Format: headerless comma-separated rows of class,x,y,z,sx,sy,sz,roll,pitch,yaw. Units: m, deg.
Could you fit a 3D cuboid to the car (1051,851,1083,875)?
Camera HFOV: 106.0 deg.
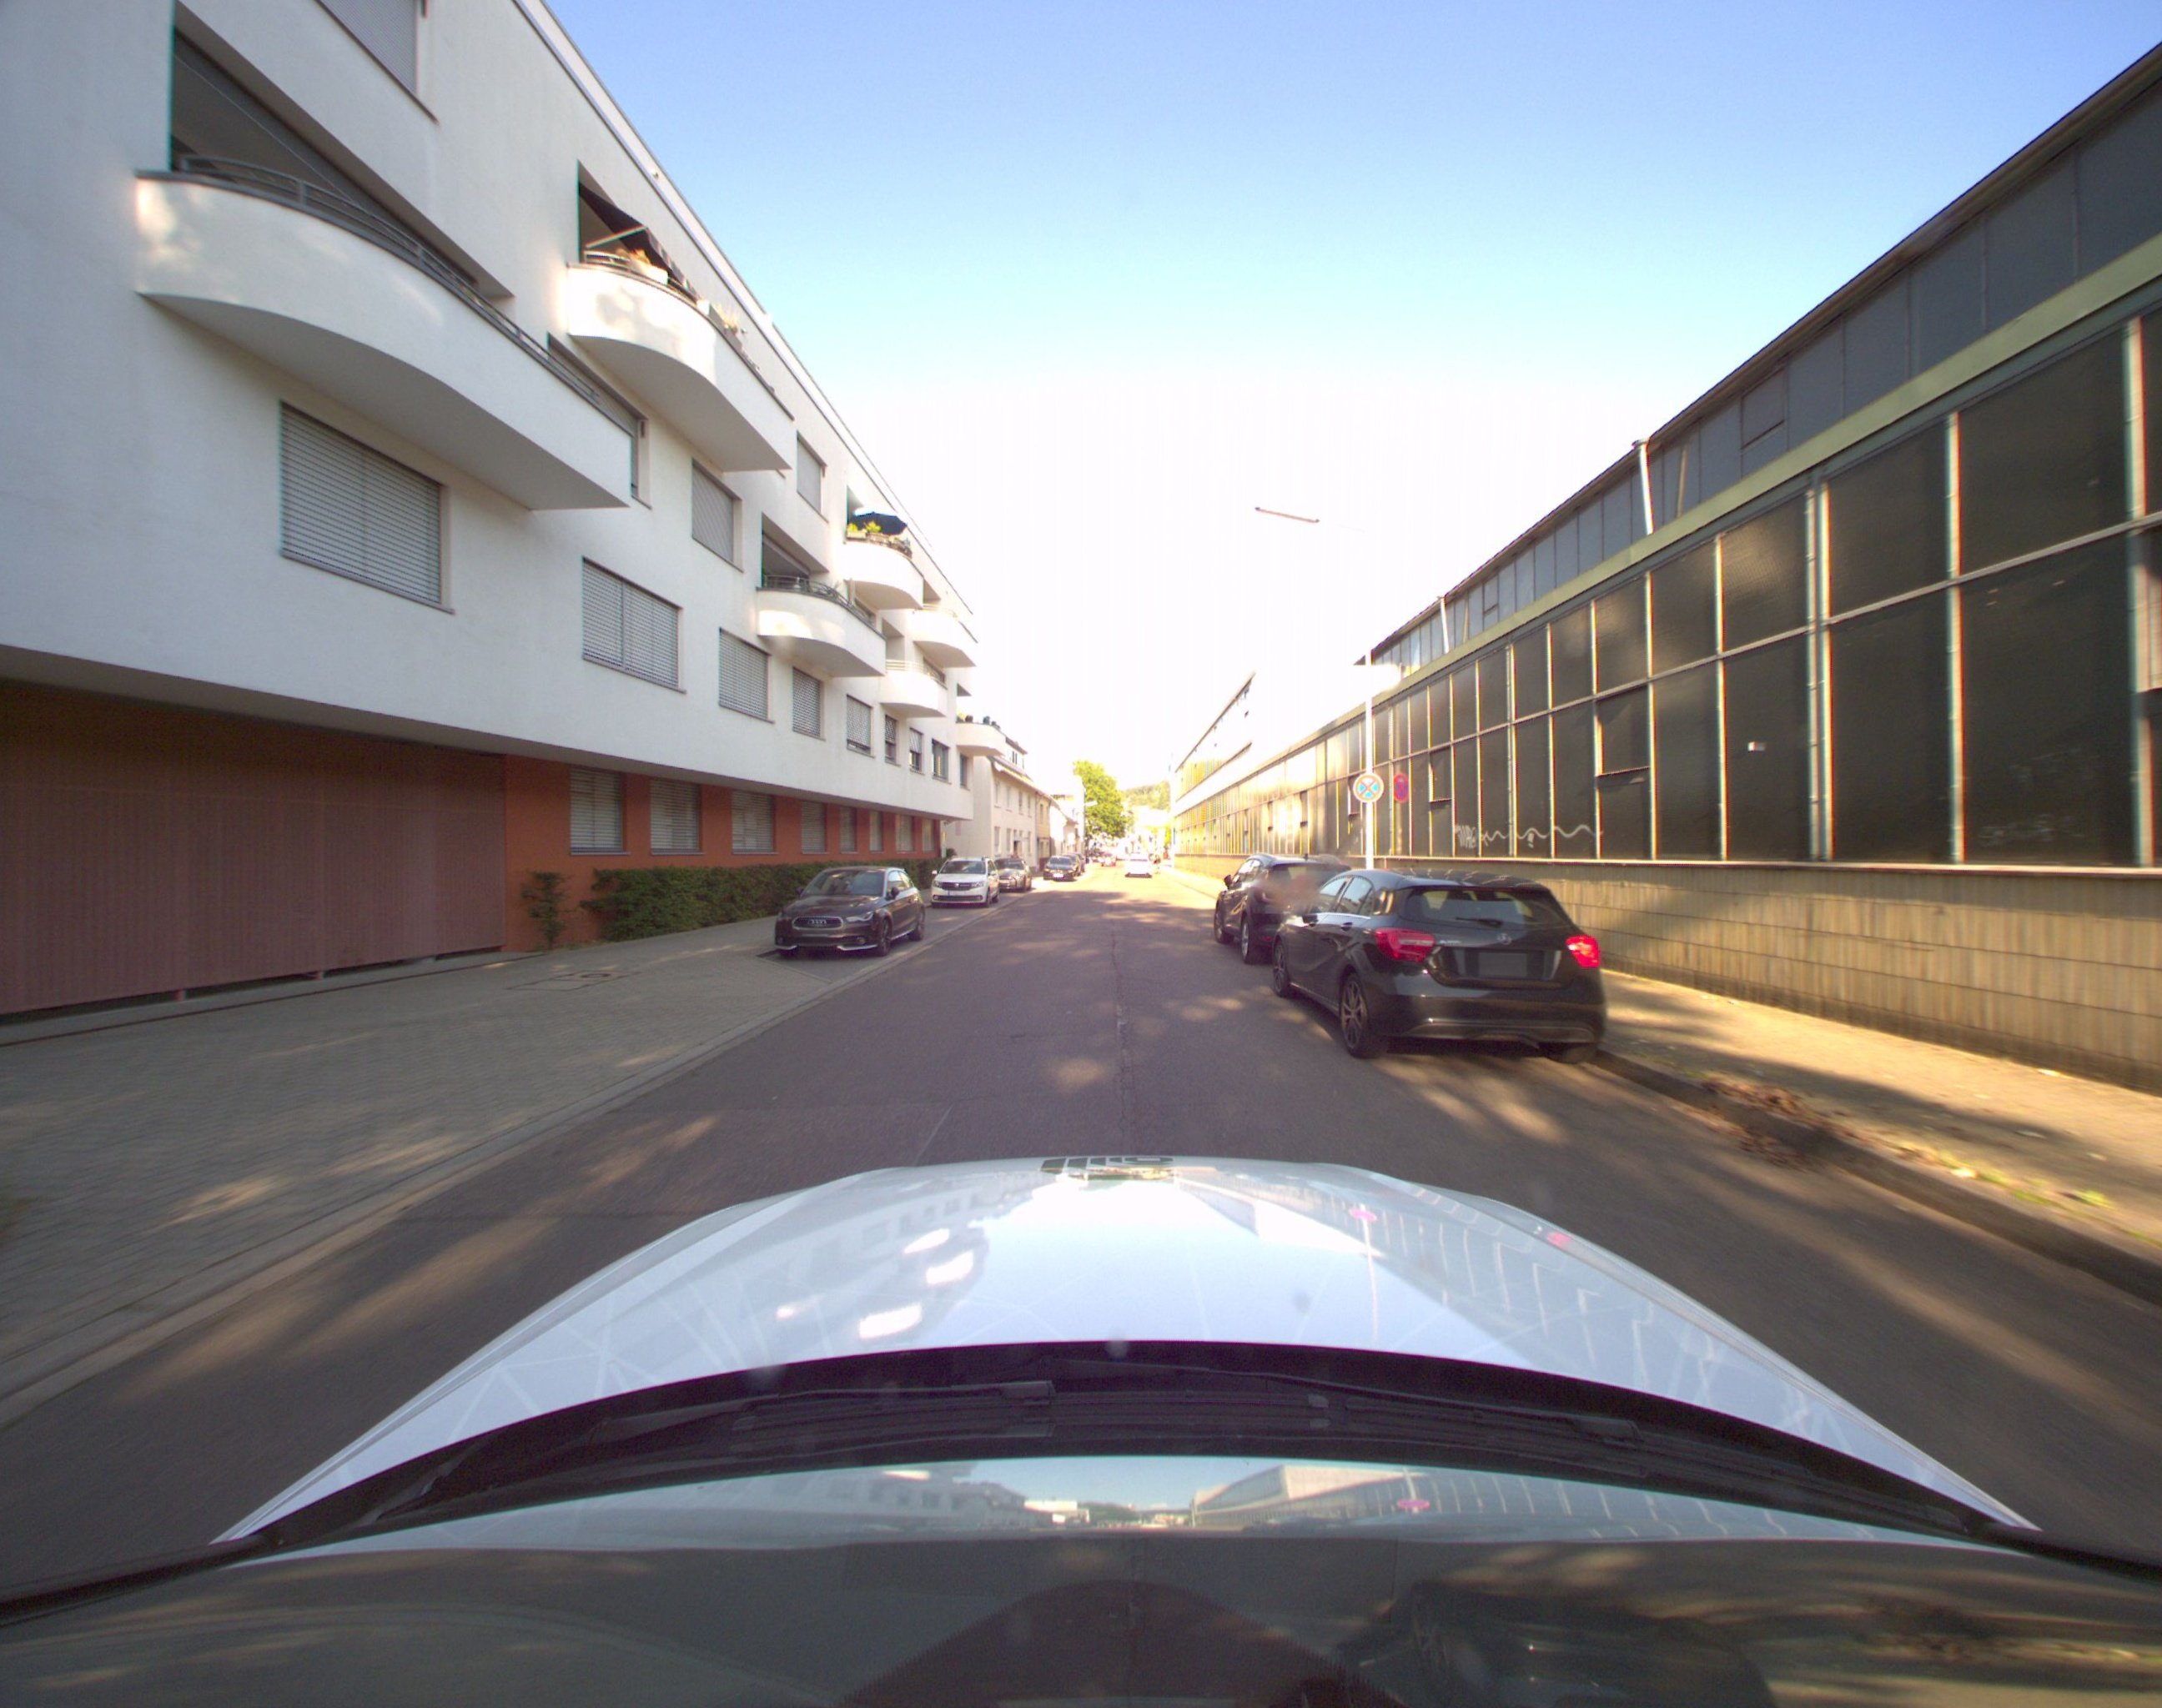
car,-0.972,0.627,58.559,1.849,1.587,4.340,1,1,4

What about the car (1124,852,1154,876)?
car,3.807,0.659,53.941,1.835,1.491,4.146,0,0,2

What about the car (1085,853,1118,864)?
car,2.779,0.619,108.102,4.105,1.491,1.853,0,0,9

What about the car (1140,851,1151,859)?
car,11.795,0.235,148.910,1.831,1.491,4.154,0,0,9

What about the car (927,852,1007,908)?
car,-3.512,0.761,25.950,1.852,1.587,4.620,1,0,0

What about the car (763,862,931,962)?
car,-3.845,0.887,14.071,1.668,1.433,3.772,1,0,2

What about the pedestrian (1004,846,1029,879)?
pedestrian,-3.626,0.476,45.686,0.853,1.818,1.138,3,1,26

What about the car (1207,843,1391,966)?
car,3.239,0.688,13.033,1.801,1.587,4.405,1,0,1

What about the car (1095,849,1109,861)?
car,3.180,0.184,121.887,1.844,1.791,4.613,0,0,5

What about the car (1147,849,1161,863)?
car,9.336,0.268,104.371,1.623,1.587,4.072,-3,0,3

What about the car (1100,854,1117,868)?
car,3.061,0.779,90.700,1.835,1.491,4.147,0,0,3

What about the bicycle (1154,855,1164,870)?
bicycle,5.956,0.662,62.143,0.695,1.130,2.405,0,0,4

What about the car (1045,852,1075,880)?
car,-1.197,0.708,48.115,1.679,1.535,4.333,1,0,-1

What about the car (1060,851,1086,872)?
car,-0.622,0.592,67.415,1.801,1.587,4.197,1,2,3

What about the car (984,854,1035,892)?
car,-3.030,0.786,35.219,1.661,1.536,3.859,1,0,2

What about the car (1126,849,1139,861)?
car,8.095,0.162,127.984,1.846,1.791,4.609,0,0,1

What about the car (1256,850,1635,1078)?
car,2.968,0.757,7.835,1.743,1.491,4.624,1,0,3

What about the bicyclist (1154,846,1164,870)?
bicyclist,5.958,0.288,62.177,0.695,1.790,1.042,0,-1,4
